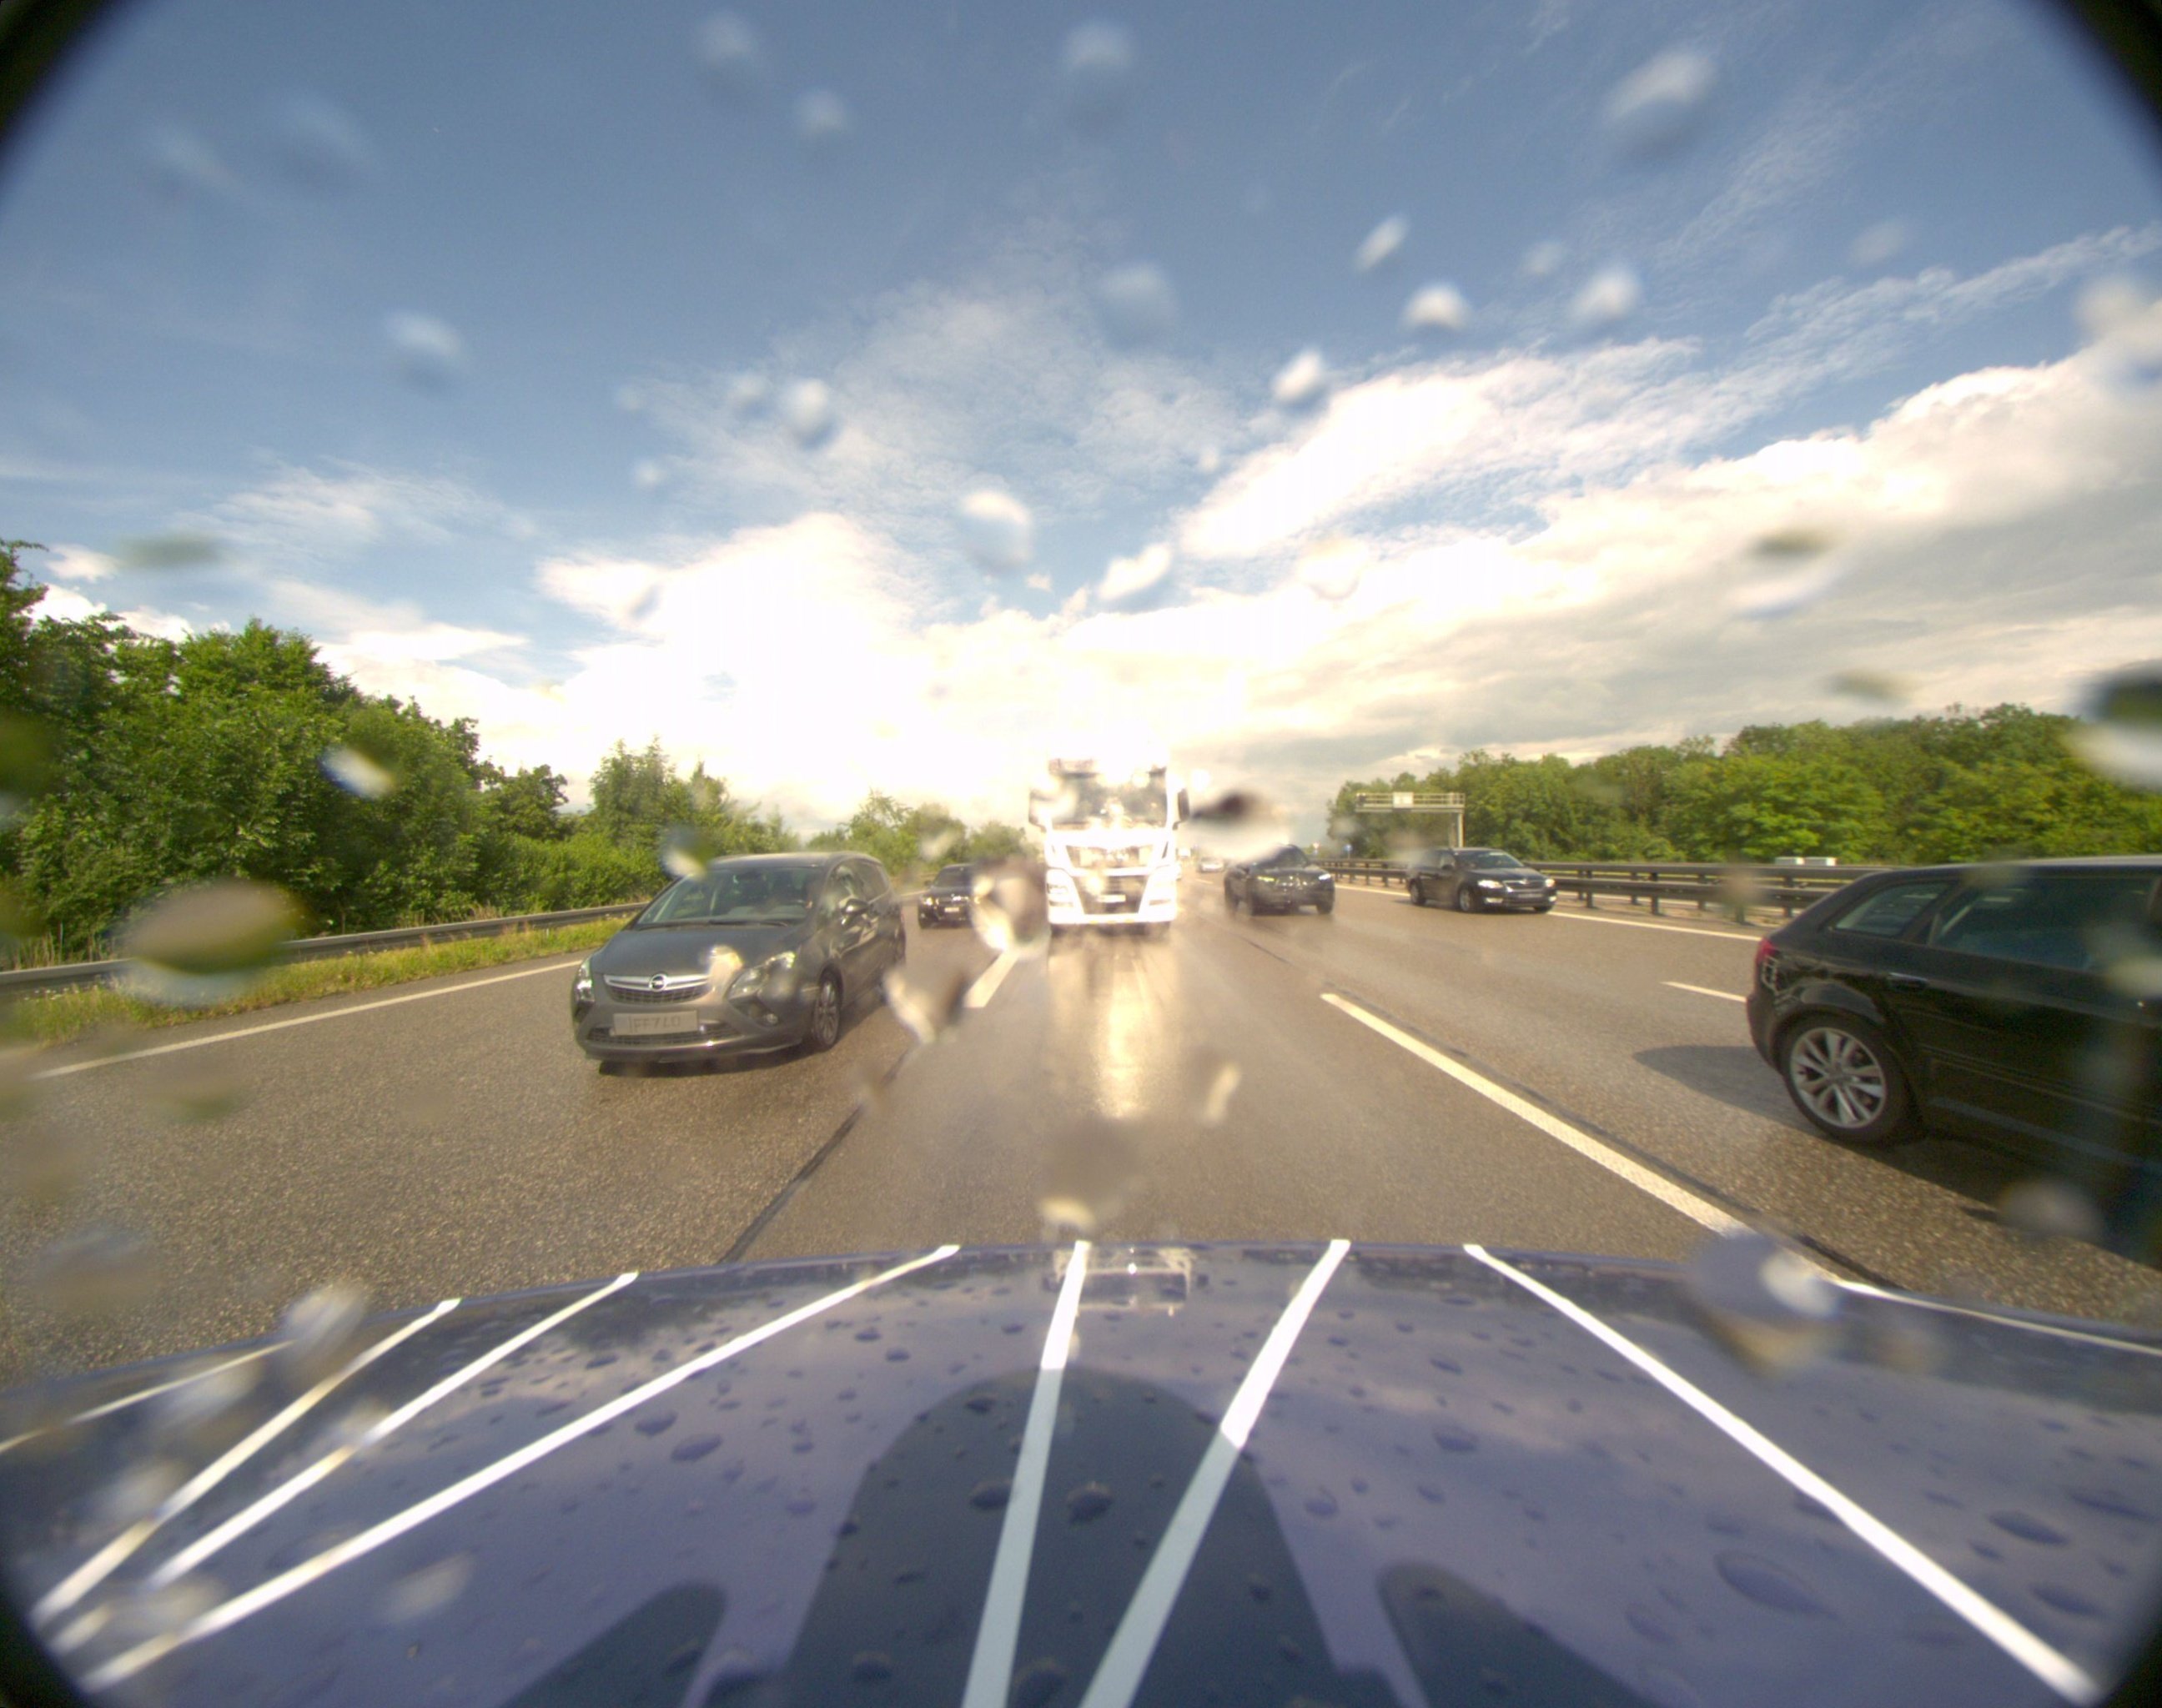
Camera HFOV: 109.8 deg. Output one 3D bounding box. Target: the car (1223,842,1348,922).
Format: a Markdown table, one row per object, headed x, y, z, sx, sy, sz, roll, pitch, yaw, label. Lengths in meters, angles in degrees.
| x | y | z | sx | sy | sz | roll | pitch | yaw | label |
| --- | --- | --- | --- | --- | --- | --- | --- | --- | --- |
| 4.866 | 0.600 | 18.800 | 1.881 | 1.669 | 4.626 | -2 | 0 | 1 | car |

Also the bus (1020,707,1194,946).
| x | y | z | sx | sy | sz | roll | pitch | yaw | label |
| --- | --- | --- | --- | --- | --- | --- | --- | --- | --- |
| 0.521 | -0.486 | 18.285 | 2.904 | 4.104 | 9.845 | -2 | 0 | 1 | bus |

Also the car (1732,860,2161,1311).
| x | y | z | sx | sy | sz | roll | pitch | yaw | label |
| --- | --- | --- | --- | --- | --- | --- | --- | --- | --- |
| 4.431 | 0.778 | 2.155 | 1.754 | 1.425 | 4.054 | -2 | 0 | 2 | car |

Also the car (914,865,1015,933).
| x | y | z | sx | sy | sz | roll | pitch | yaw | label |
| --- | --- | --- | --- | --- | --- | --- | --- | --- | --- |
| -2.676 | 1.002 | 18.302 | 1.722 | 1.346 | 3.884 | -2 | 0 | 1 | car |

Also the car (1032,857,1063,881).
| x | y | z | sx | sy | sz | roll | pitch | yaw | label |
| --- | --- | --- | --- | --- | --- | --- | --- | --- | --- |
| -2.157 | 0.931 | 49.617 | 1.858 | 1.434 | 3.999 | -2 | 0 | -1 | car |

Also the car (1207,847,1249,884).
| x | y | z | sx | sy | sz | roll | pitch | yaw | label |
| --- | --- | --- | --- | --- | --- | --- | --- | --- | --- |
| 6.734 | 0.517 | 35.036 | 1.409 | 1.588 | 2.830 | -2 | 0 | 1 | car |

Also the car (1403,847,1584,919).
| x | y | z | sx | sy | sz | roll | pitch | yaw | label |
| --- | --- | --- | --- | --- | --- | --- | --- | --- | --- |
| 9.299 | 0.575 | 17.599 | 1.924 | 1.416 | 4.372 | -2 | 0 | 2 | car |

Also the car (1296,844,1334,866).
| x | y | z | sx | sy | sz | roll | pitch | yaw | label |
| --- | --- | --- | --- | --- | --- | --- | --- | --- | --- |
| 17.294 | 0.081 | 56.356 | 1.824 | 1.565 | 3.316 | -2 | 0 | 1 | car |

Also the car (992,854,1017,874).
| x | y | z | sx | sy | sz | roll | pitch | yaw | label |
| --- | --- | --- | --- | --- | --- | --- | --- | --- | --- |
| -6.141 | 0.811 | 61.313 | 1.616 | 1.480 | 3.480 | -2 | 0 | -1 | car |

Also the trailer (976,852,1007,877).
| x | y | z | sx | sy | sz | roll | pitch | yaw | label |
| --- | --- | --- | --- | --- | --- | --- | --- | --- | --- |
| -6.569 | 0.728 | 56.211 | 1.810 | 1.736 | 3.967 | -3 | 0 | -1 | trailer |

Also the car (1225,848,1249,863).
| x | y | z | sx | sy | sz | roll | pitch | yaw | label |
| --- | --- | --- | --- | --- | --- | --- | --- | --- | --- |
| 18.224 | 0.157 | 88.882 | 1.770 | 1.633 | 4.246 | -2 | 0 | -2 | car |

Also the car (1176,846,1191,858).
| x | y | z | sx | sy | sz | roll | pitch | yaw | label |
| --- | --- | --- | --- | --- | --- | --- | --- | --- | --- |
| 19.990 | -0.392 | 148.271 | 2.119 | 2.382 | 6.102 | -2 | 0 | 0 | car |

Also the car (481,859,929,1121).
| x | y | z | sx | sy | sz | roll | pitch | yaw | label |
| --- | --- | --- | --- | --- | --- | --- | --- | --- | --- |
| -2.941 | 0.915 | 7.359 | 1.858 | 1.622 | 4.736 | -2 | 0 | 1 | car |

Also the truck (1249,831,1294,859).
| x | y | z | sx | sy | sz | roll | pitch | yaw | label |
| --- | --- | --- | --- | --- | --- | --- | --- | --- | --- |
| 21.698 | -0.985 | 87.000 | 2.923 | 2.970 | 8.721 | -2 | 1 | 0 | truck |

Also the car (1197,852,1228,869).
| x | y | z | sx | sy | sz | roll | pitch | yaw | label |
| --- | --- | --- | --- | --- | --- | --- | --- | --- | --- |
| 10.051 | 0.478 | 58.225 | 1.857 | 1.182 | 3.583 | -2 | 0 | 2 | car |

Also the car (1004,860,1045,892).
| x | y | z | sx | sy | sz | roll | pitch | yaw | label |
| --- | --- | --- | --- | --- | --- | --- | --- | --- | --- |
| -2.620 | 0.985 | 35.721 | 1.744 | 1.357 | 3.999 | -2 | 0 | -3 | car |

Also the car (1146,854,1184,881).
| x | y | z | sx | sy | sz | roll | pitch | yaw | label |
| --- | --- | --- | --- | --- | --- | --- | --- | --- | --- |
| 4.866 | 0.750 | 44.265 | 1.809 | 1.389 | 4.240 | -1 | 0 | 1 | car |

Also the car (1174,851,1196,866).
| x | y | z | sx | sy | sz | roll | pitch | yaw | label |
| --- | --- | --- | --- | --- | --- | --- | --- | --- | --- |
| 10.043 | 0.441 | 73.765 | 1.618 | 1.412 | 4.000 | -2 | 0 | 1 | car |
